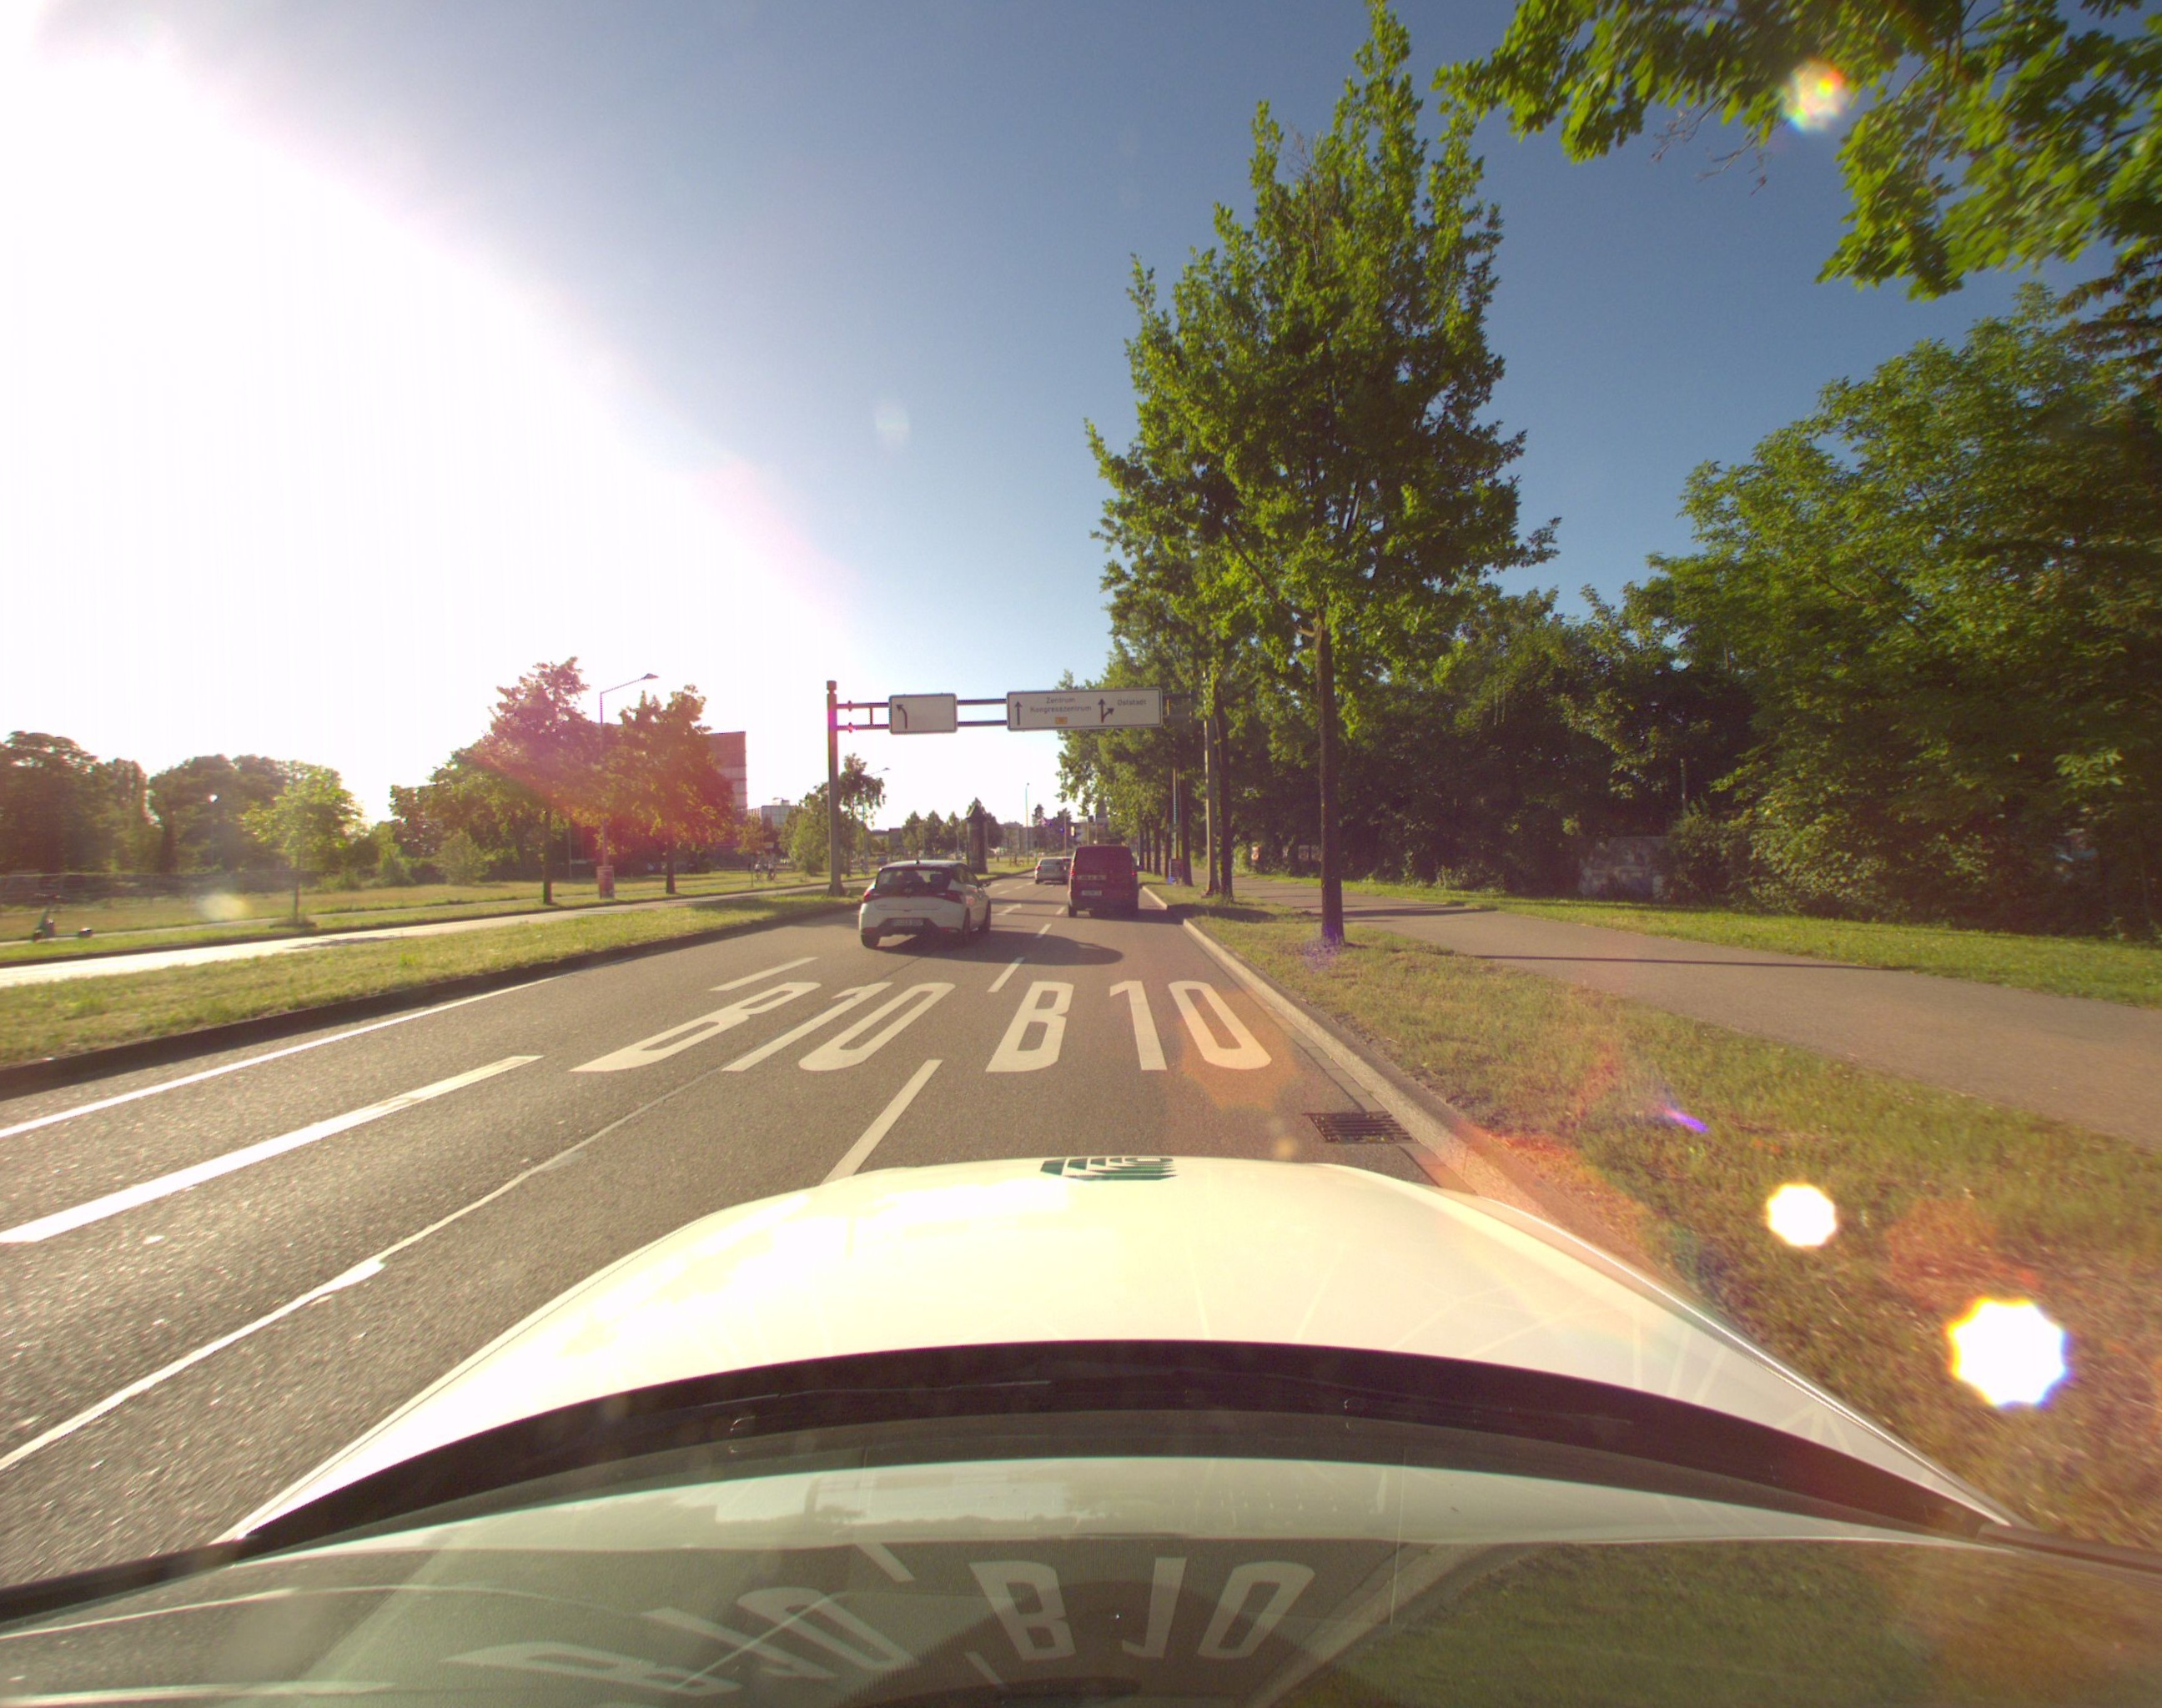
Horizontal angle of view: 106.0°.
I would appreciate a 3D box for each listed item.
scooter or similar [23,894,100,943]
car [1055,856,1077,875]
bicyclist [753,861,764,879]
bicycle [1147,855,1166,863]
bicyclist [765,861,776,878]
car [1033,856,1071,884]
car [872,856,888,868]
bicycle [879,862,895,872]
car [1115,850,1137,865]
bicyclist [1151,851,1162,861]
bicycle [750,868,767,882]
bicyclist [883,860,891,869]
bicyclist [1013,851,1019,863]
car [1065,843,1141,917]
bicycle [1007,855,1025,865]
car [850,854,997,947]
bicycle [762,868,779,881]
[{"bbox_3d":[-26.017,1.625,20.804,0.230,1.149,1.328,-2,0,2],"label":"scooter or similar"},{"bbox_3d":[-1.244,0.927,67.883,1.655,1.398,3.560,-1,0,1],"label":"car"},{"bbox_3d":[-25.881,1.292,65.416,0.480,1.395,0.844,-2,0,0],"label":"bicyclist"},{"bbox_3d":[9.057,0.600,97.738,2.133,0.958,0.781,-2,0,-31],"label":"bicycle"},{"bbox_3d":[-24.820,1.242,65.162,0.560,1.392,0.747,-2,0,0],"label":"bicyclist"},{"bbox_3d":[-1.617,0.851,46.194,1.834,1.456,4.164,0,1,2],"label":"car"},{"bbox_3d":[-33.303,1.303,134.764,1.644,1.876,3.964,-2,0,-28],"label":"car"},{"bbox_3d":[-22.729,1.477,95.563,1.714,1.107,0.607,-2,0,14],"label":"bicycle"},{"bbox_3d":[5.317,0.405,95.429,1.758,1.625,3.942,0,0,15],"label":"car"},{"bbox_3d":[9.078,0.237,97.764,0.974,1.249,0.781,-2,0,-31],"label":"bicyclist"},{"bbox_3d":[-25.867,1.676,65.429,0.485,1.003,2.096,-2,0,1],"label":"bicycle"},{"bbox_3d":[-22.779,1.246,95.576,0.729,1.107,0.607,-2,0,14],"label":"bicyclist"},{"bbox_3d":[-7.587,0.348,95.594,0.601,1.468,0.517,-2,0,0],"label":"bicyclist"},{"bbox_3d":[0.580,0.599,21.553,1.799,1.759,4.007,0,0,1],"label":"car"},{"bbox_3d":[-7.639,0.722,95.595,1.952,1.166,0.517,-2,0,0],"label":"bicycle"},{"bbox_3d":[-2.708,0.743,14.990,1.771,1.409,4.077,-1,1,2],"label":"car"},{"bbox_3d":[-24.810,1.644,65.081,0.568,1.003,2.096,-2,0,1],"label":"bicycle"}]
